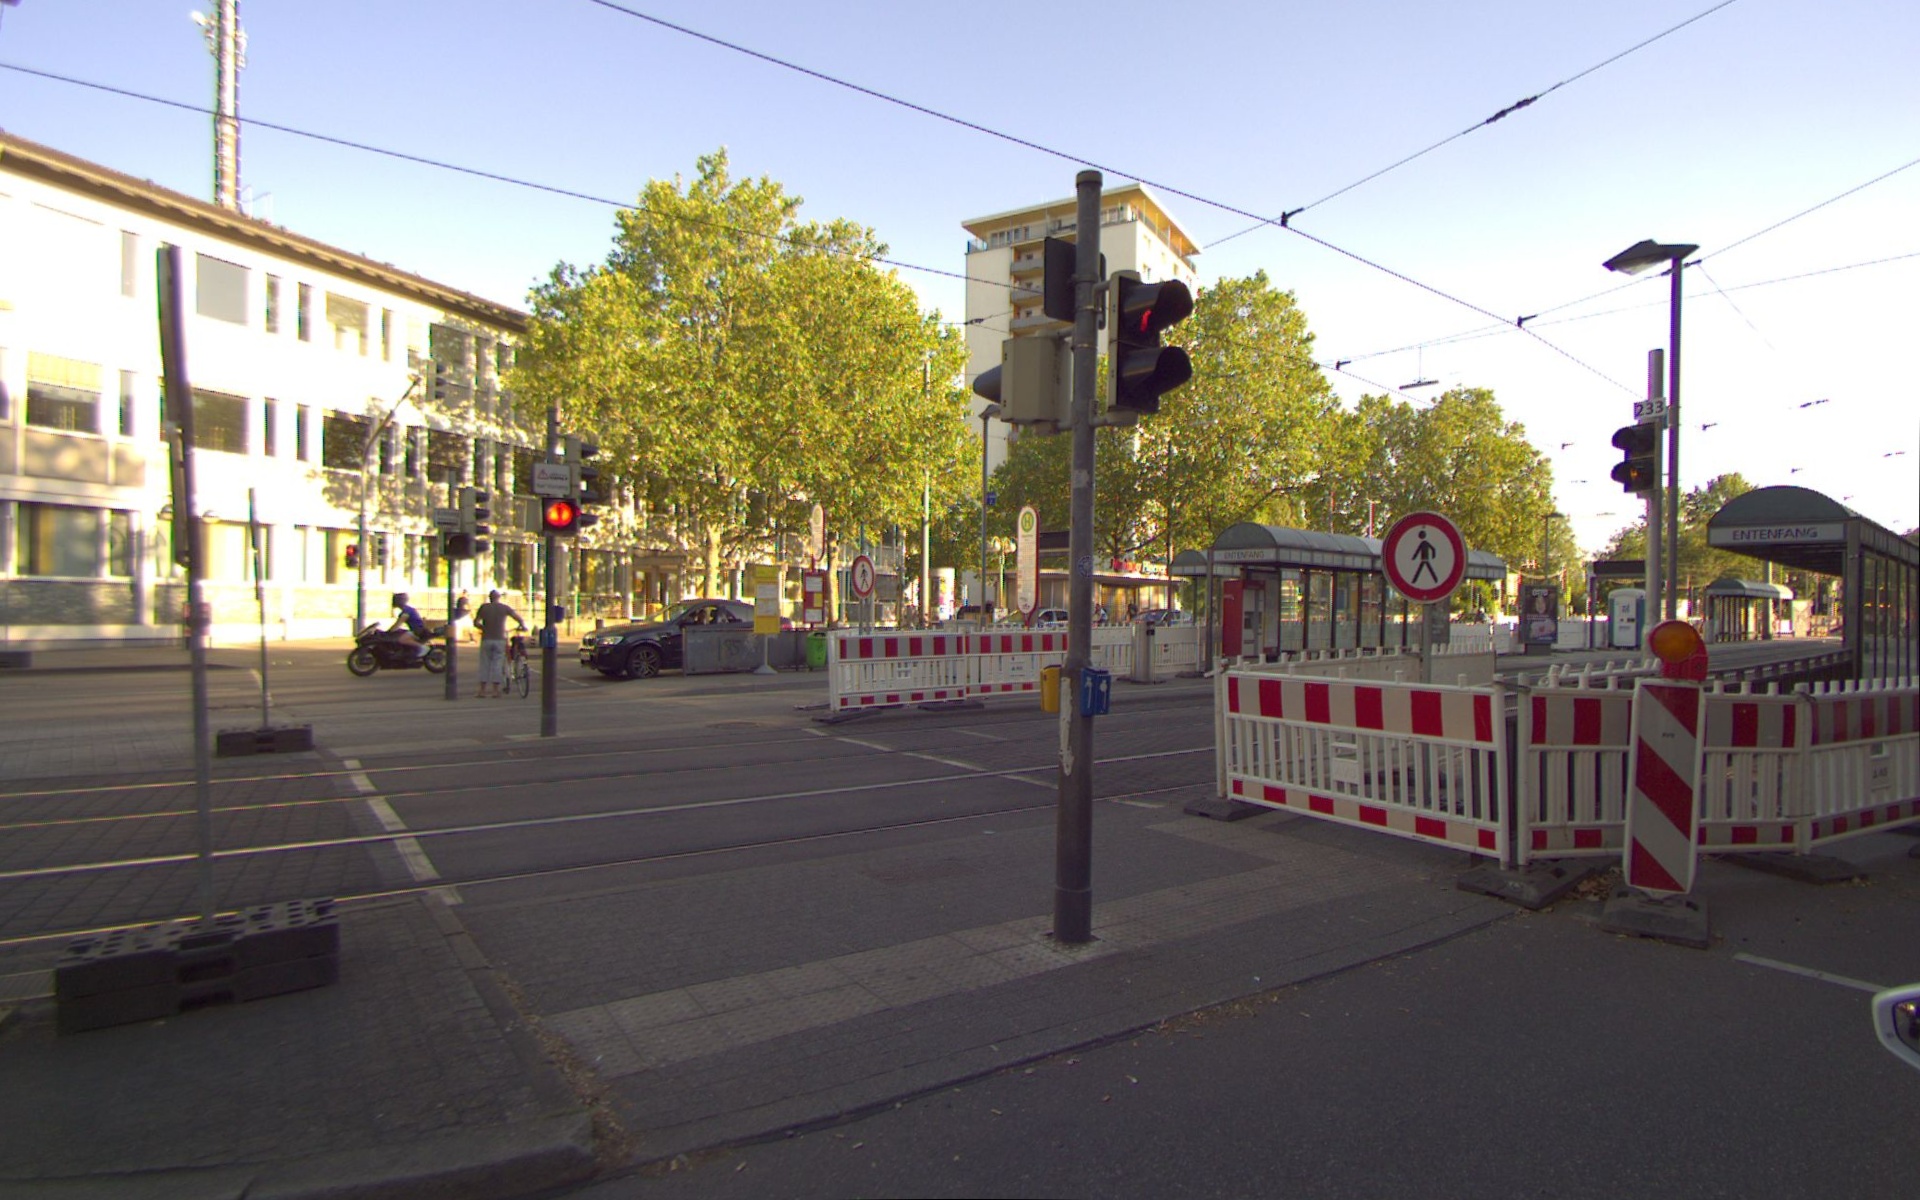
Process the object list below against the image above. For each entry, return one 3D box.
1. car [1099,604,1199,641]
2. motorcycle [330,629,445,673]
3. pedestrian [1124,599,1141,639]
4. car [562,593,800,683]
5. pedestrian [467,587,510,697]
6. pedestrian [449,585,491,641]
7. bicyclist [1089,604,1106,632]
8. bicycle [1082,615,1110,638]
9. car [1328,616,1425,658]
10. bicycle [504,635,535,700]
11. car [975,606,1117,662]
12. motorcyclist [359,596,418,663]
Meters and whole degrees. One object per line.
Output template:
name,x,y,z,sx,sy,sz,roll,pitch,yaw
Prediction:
car,7.894,0.889,41.777,1.972,1.468,4.511,0,0,43
motorcycle,-11.766,1.024,20.674,1.976,0.819,0.676,-1,-1,-37
pedestrian,7.922,0.880,46.145,0.559,1.834,0.610,0,0,35
car,-5.870,0.757,21.488,4.552,1.689,1.877,1,1,-42
pedestrian,-7.835,0.685,16.681,0.589,1.782,0.592,1,0,-29
pedestrian,-15.569,0.408,31.918,0.792,1.752,0.885,0,0,22
bicyclist,5.863,0.776,42.781,0.658,1.189,0.406,1,0,-44
bicycle,5.786,1.114,42.710,1.452,0.980,0.406,1,0,-44
car,18.062,1.537,43.489,4.650,1.677,1.932,0,0,-40
bicycle,-7.317,1.092,16.663,0.318,0.978,1.569,1,0,-29
car,2.853,1.045,32.802,4.652,1.677,1.931,0,0,-41
motorcyclist,-11.765,0.594,20.672,0.975,1.333,0.676,-1,0,-36
